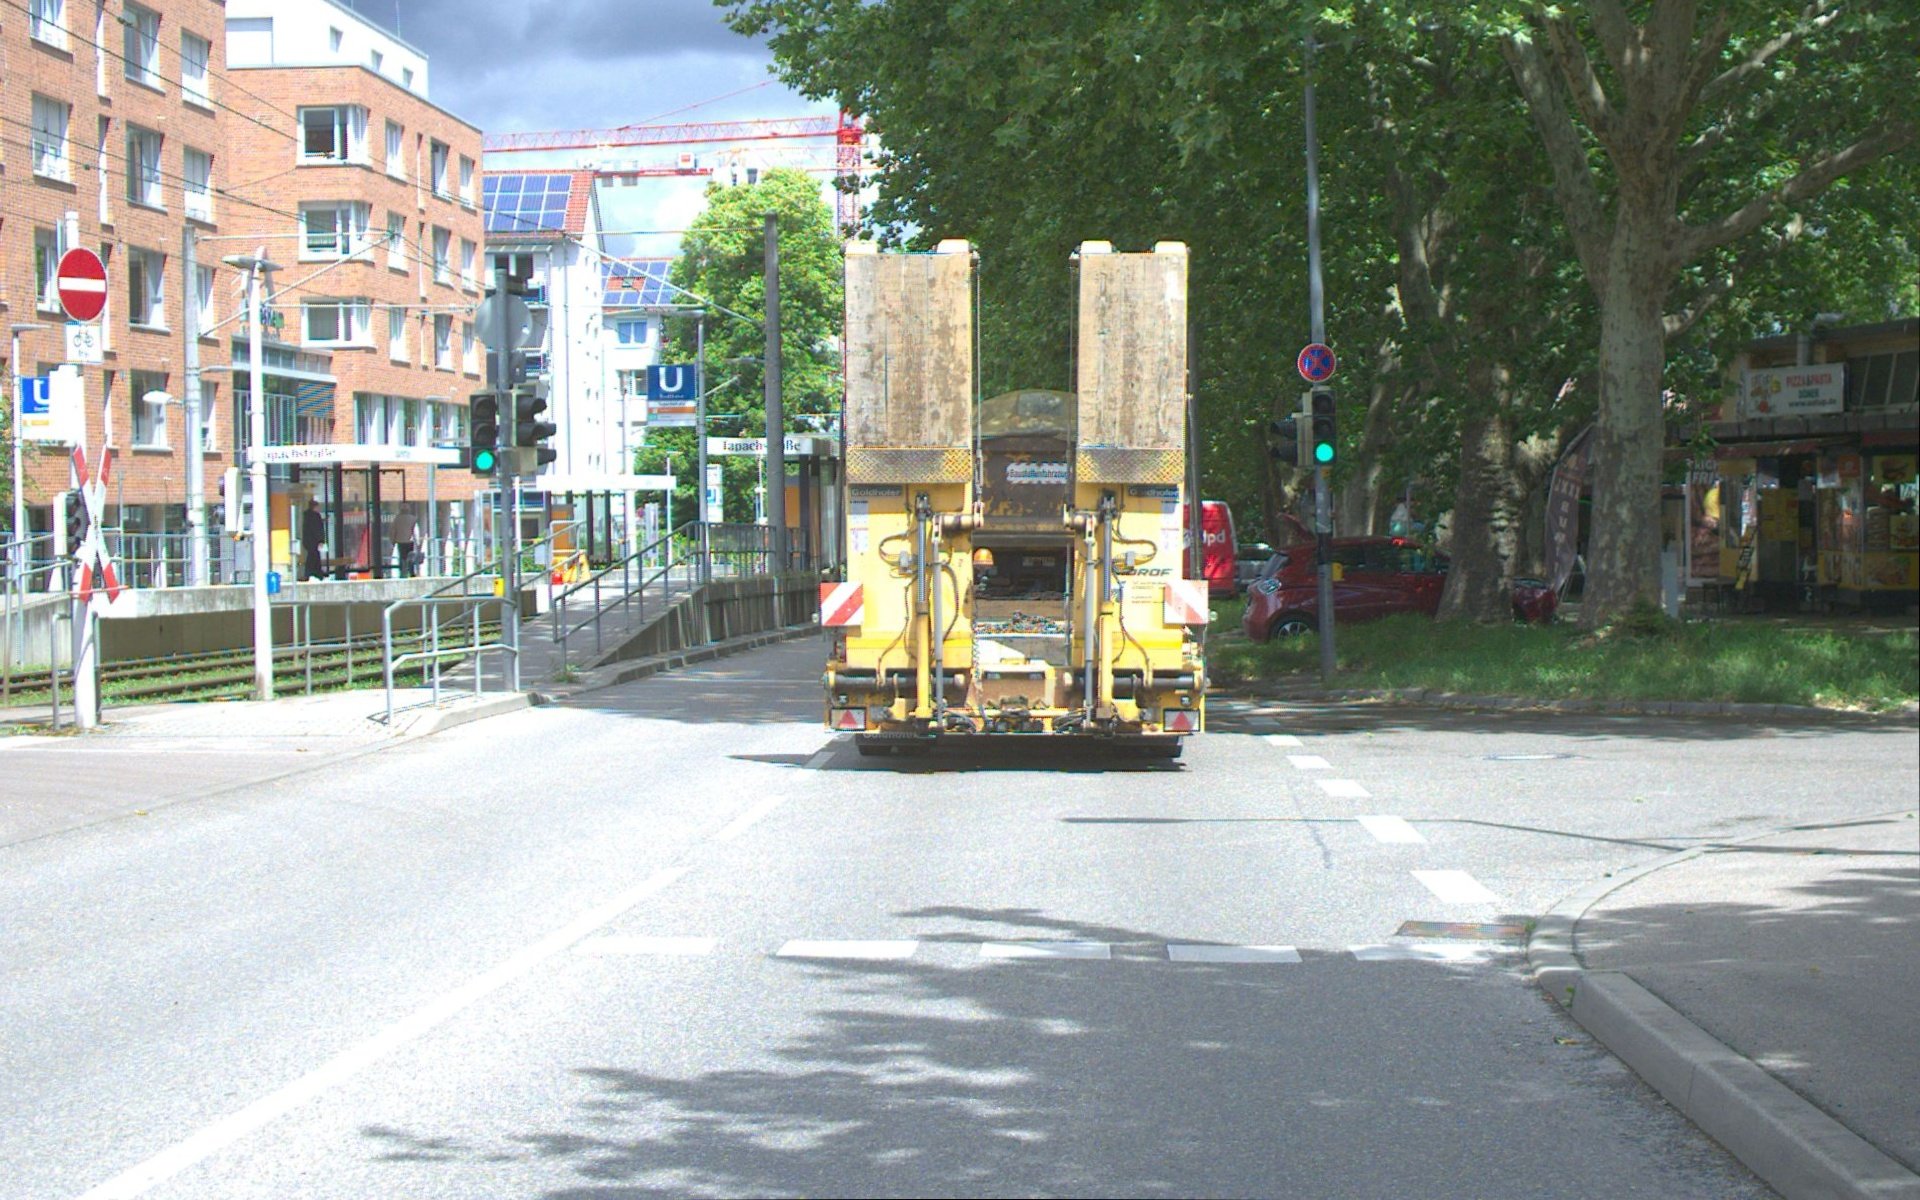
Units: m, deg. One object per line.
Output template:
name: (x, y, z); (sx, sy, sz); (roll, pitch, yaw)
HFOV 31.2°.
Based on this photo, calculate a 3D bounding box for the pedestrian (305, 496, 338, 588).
pedestrian: (-12.382, -1.125, 66.681); (0.534, 1.757, 0.528); (-1, 0, 0)

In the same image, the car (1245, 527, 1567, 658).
car: (5.741, -0.104, 44.539); (4.030, 1.606, 1.730); (-1, 1, 6)

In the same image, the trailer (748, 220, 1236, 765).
trailer: (0.537, -0.774, 28.034); (3.154, 3.540, 11.095); (1, 1, 3)

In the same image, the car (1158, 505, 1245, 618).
car: (5.793, -0.935, 83.237); (1.904, 2.572, 6.833); (-2, 0, 3)

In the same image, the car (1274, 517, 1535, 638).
car: (6.288, -0.323, 48.906); (3.407, 1.509, 1.610); (-3, 0, -1)

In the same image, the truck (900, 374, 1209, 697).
truck: (1.172, -0.681, 37.543); (2.990, 3.124, 7.887); (1, 1, 4)

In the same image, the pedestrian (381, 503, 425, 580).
pedestrian: (-11.831, -1.249, 73.041); (0.751, 1.623, 0.816); (1, 1, 3)

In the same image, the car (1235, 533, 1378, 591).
car: (9.902, -1.085, 98.494); (3.829, 1.557, 1.620); (-2, 0, -3)
